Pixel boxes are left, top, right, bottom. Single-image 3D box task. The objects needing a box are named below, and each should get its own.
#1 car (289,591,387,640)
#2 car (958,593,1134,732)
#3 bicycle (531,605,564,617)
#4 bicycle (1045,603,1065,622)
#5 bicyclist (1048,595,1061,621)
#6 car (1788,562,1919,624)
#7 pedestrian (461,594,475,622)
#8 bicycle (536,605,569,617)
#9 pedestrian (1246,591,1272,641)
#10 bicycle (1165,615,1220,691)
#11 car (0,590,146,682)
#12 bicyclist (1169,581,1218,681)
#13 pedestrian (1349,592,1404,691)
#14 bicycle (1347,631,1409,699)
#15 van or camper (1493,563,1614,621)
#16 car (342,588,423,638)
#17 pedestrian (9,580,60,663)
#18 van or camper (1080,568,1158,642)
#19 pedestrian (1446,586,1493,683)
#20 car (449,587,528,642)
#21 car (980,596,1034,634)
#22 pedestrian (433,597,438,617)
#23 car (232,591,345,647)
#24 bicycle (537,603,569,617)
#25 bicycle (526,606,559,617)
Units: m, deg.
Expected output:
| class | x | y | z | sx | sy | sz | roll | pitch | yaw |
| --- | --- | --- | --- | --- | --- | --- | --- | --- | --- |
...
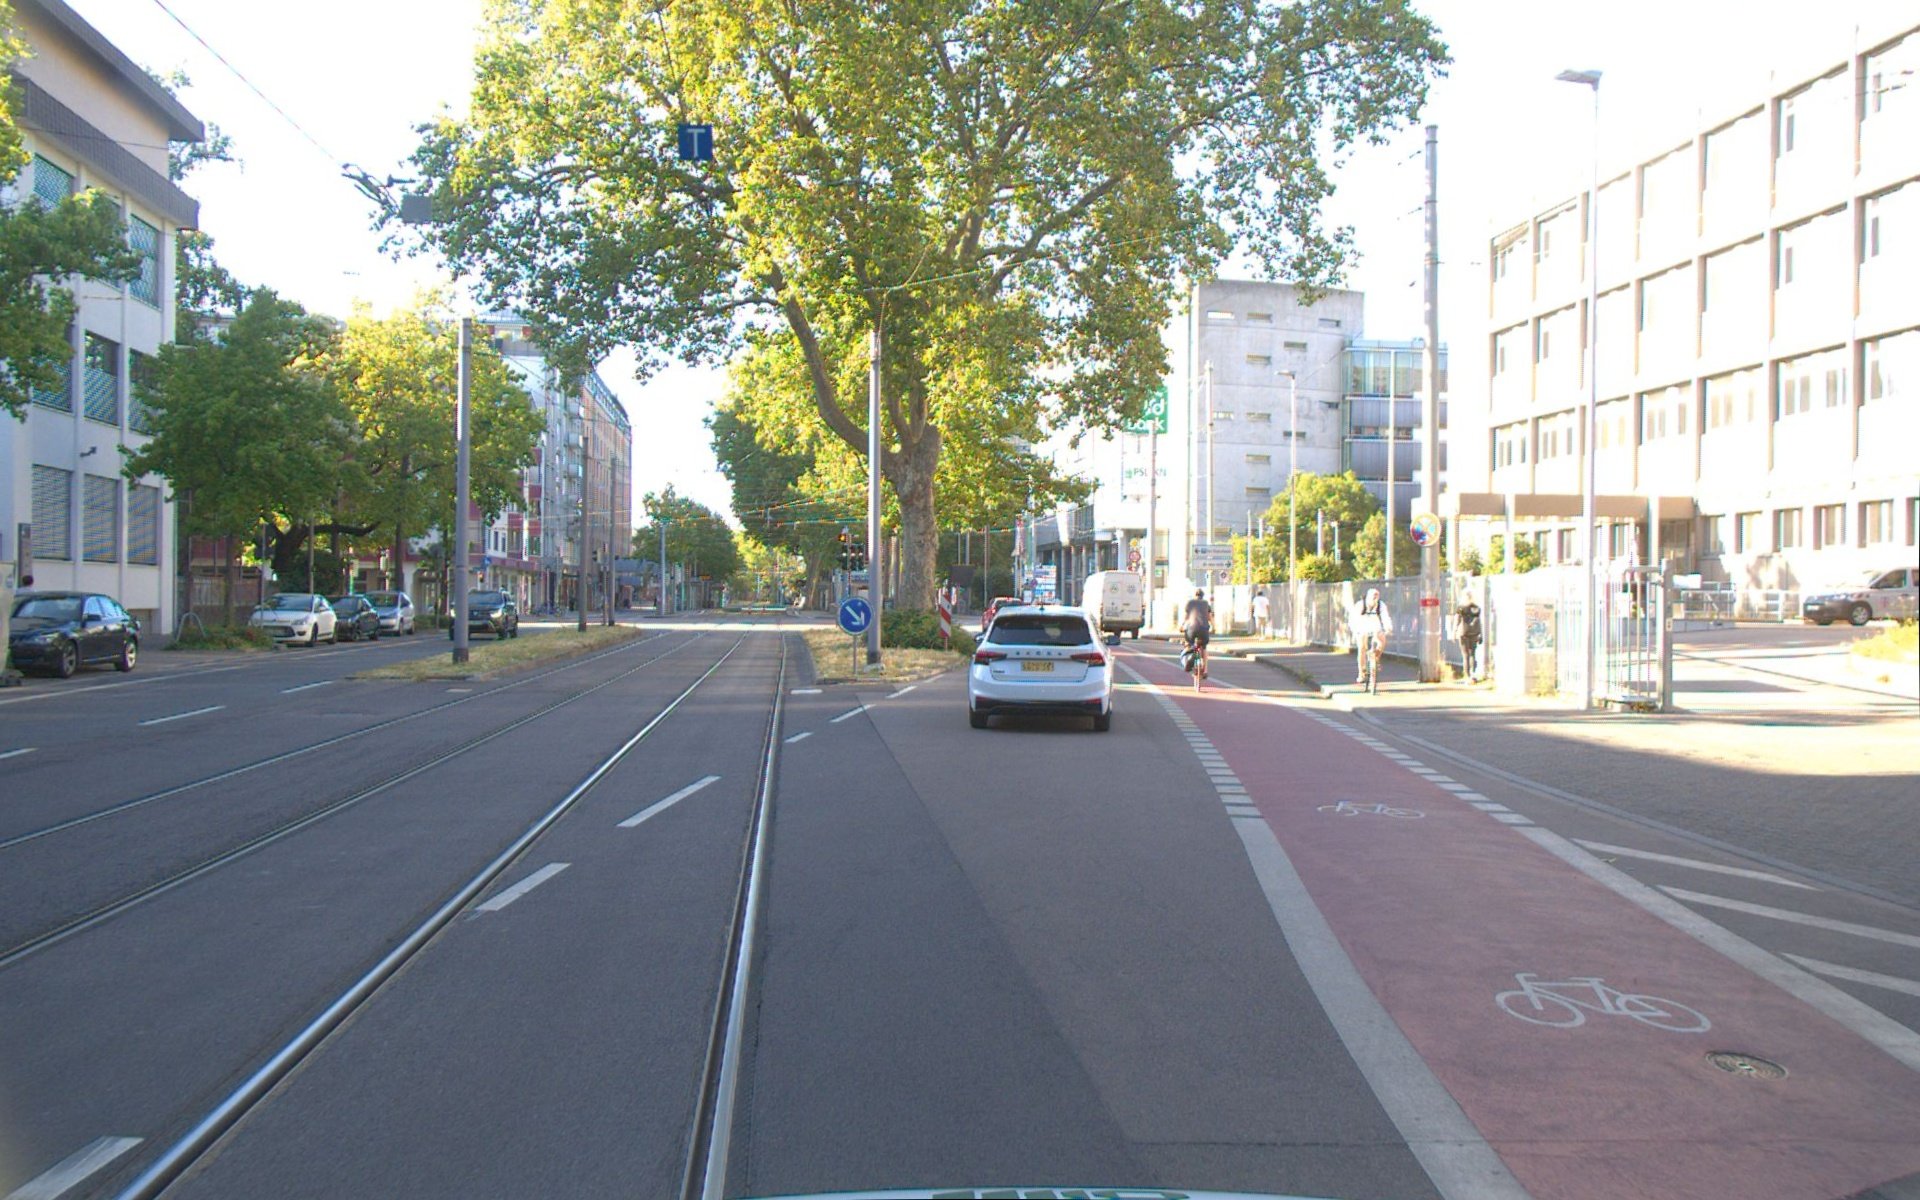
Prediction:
| class | x | y | z | sx | sy | sz | roll | pitch | yaw |
| --- | --- | --- | --- | --- | --- | --- | --- | --- | --- |
| car | -19.810 | 0.478 | 52.872 | 1.956 | 1.502 | 4.641 | 0 | 0 | -8 |
| car | 1.172 | 0.715 | 20.776 | 1.763 | 1.527 | 3.984 | 1 | 0 | 9 |
| bicycle | -28.084 | 0.737 | 112.666 | 2.129 | 0.801 | 0.491 | 0 | 0 | -10 |
| bicycle | 6.032 | 0.807 | 104.892 | 0.777 | 1.182 | 2.495 | 0 | 0 | -8 |
| bicyclist | 6.003 | 0.524 | 105.041 | 0.770 | 1.663 | 0.638 | 0 | 0 | -8 |
| car | 26.608 | -0.193 | 48.096 | 4.171 | 1.748 | 1.990 | 0 | 0 | -7 |
| pedestrian | -29.885 | 0.480 | 100.557 | 0.695 | 1.691 | 1.031 | 0 | 0 | -11 |
| bicycle | -28.094 | 0.778 | 114.029 | 2.129 | 0.838 | 0.527 | 0 | 0 | -10 |
| pedestrian | 10.545 | 0.562 | 58.421 | 0.770 | 1.779 | 0.772 | 0 | 0 | 0 |
| bicycle | 4.096 | 0.916 | 29.273 | 0.728 | 1.245 | 2.157 | 2 | 0 | 3 |
| car | -16.647 | 0.600 | 29.986 | 1.956 | 1.540 | 4.717 | 0 | 0 | -8 |
| bicyclist | 4.102 | 0.538 | 29.125 | 0.727 | 1.698 | 0.745 | 2 | 0 | 3 |
| pedestrian | 7.124 | 0.701 | 28.334 | 0.655 | 1.647 | 1.102 | -2 | 0 | 2 |
| bicycle | 7.135 | 1.094 | 28.314 | 0.660 | 1.050 | 1.902 | -2 | 0 | 4 |
| van or camper | 20.600 | -0.271 | 57.685 | 1.943 | 1.942 | 4.992 | 0 | 0 | -7 |
| car | -20.782 | 0.446 | 59.681 | 1.956 | 1.719 | 4.170 | 0 | 0 | -8 |
| pedestrian | -18.686 | 0.436 | 33.401 | 0.623 | 1.649 | 0.730 | 1 | -1 | -9 |
| van or camper | 6.417 | 0.183 | 67.620 | 2.223 | 2.781 | 6.344 | 3 | 0 | -2 |
| pedestrian | 9.163 | 0.606 | 29.773 | 0.681 | 1.713 | 0.931 | 0 | 0 | 8 |
| car | -15.478 | 0.456 | 54.490 | 1.956 | 1.719 | 4.302 | 0 | 0 | -8 |
| car | 1.932 | 0.611 | 69.449 | 1.804 | 1.515 | 3.712 | 0 | 0 | -6 |
| pedestrian | -32.247 | 0.451 | 101.706 | 0.298 | 1.235 | 0.318 | 0 | 0 | -11 |
| car | -19.008 | 0.509 | 47.014 | 1.956 | 1.496 | 4.397 | 0 | 0 | -8 |
| bicycle | -28.207 | 0.704 | 114.663 | 2.129 | 0.967 | 0.491 | 0 | 0 | -10 |
| bicycle | -28.251 | 0.777 | 111.881 | 2.129 | 0.801 | 0.639 | 0 | 0 | -10 |
